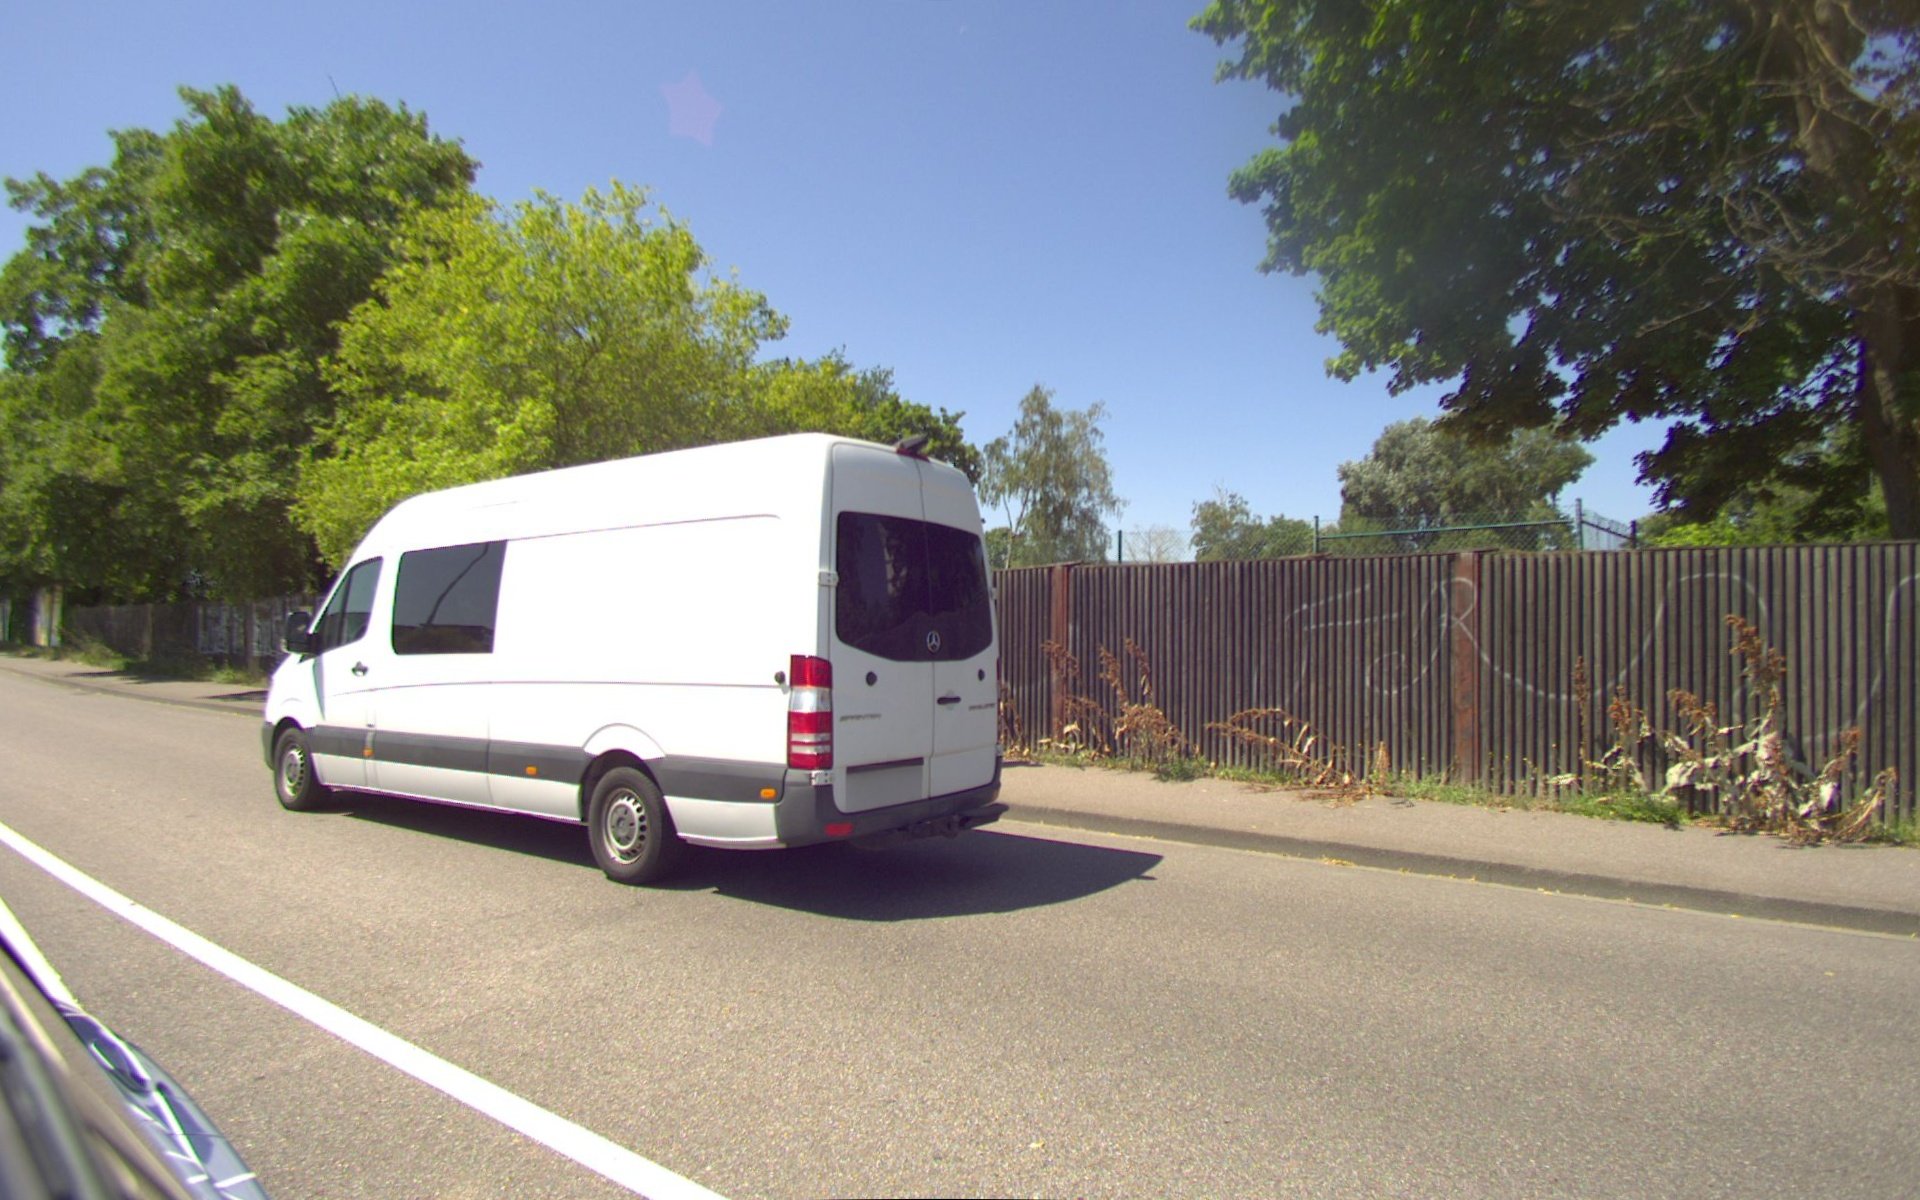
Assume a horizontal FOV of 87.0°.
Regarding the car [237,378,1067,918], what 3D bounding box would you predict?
[{"bbox_3d":[-2.696,0.287,7.524,6.808,2.558,2.003,-1,-2,33],"label":"car"}]
